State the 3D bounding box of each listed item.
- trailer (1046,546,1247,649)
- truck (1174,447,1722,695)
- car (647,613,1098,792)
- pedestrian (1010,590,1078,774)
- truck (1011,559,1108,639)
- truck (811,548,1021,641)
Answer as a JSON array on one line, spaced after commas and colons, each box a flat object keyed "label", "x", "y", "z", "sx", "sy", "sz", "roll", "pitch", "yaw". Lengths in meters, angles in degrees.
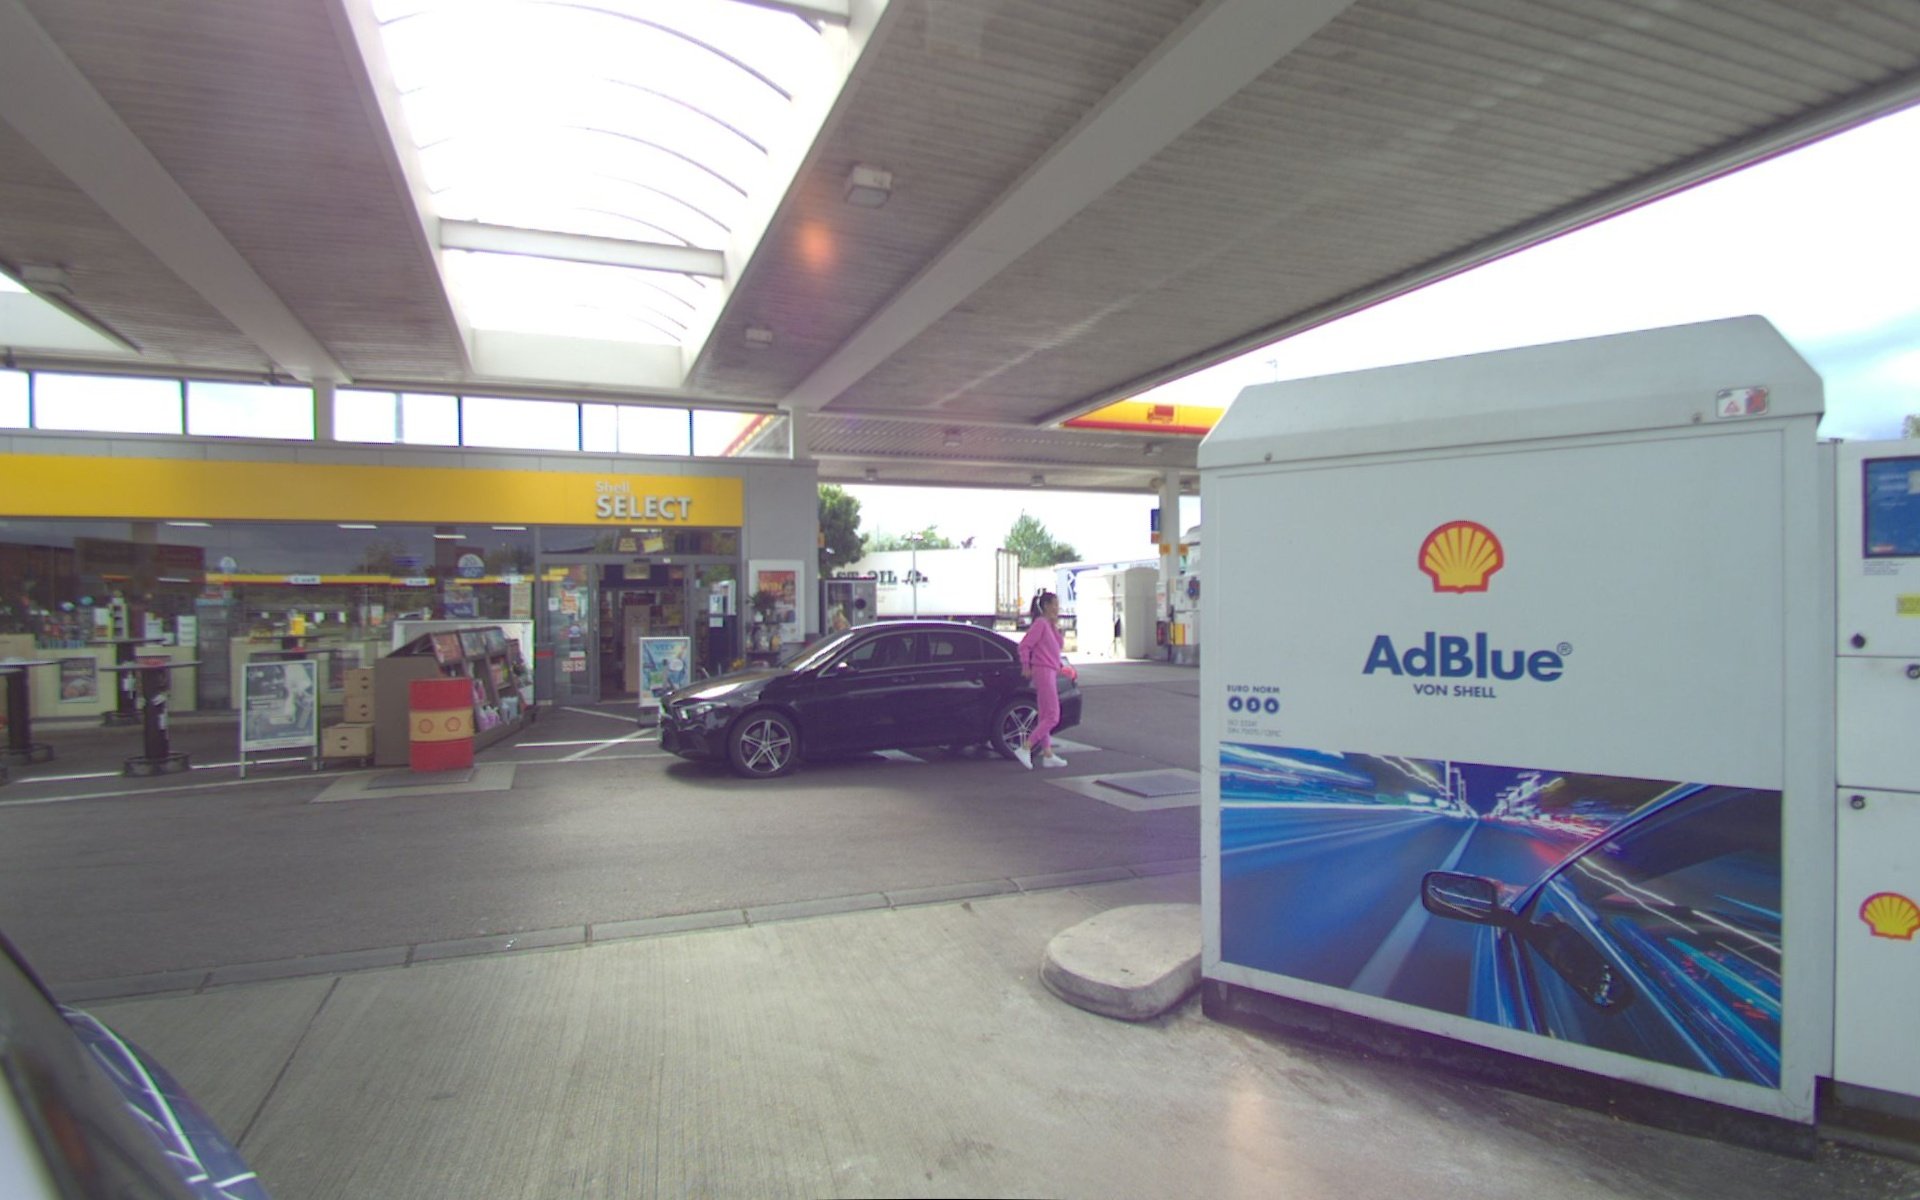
[{"label": "trailer", "x": 9.085, "y": -0.105, "z": 52.683, "sx": 3.294, "sy": 4.600, "sz": 14.397, "roll": -1, "pitch": 0, "yaw": -20}, {"label": "truck", "x": 9.645, "y": -0.466, "z": 23.111, "sx": 2.491, "sy": 4.069, "sz": 12.947, "roll": -1, "pitch": 0, "yaw": -22}, {"label": "car", "x": -0.929, "y": 0.941, "z": 10.686, "sx": 4.394, "sy": 1.511, "sz": 1.785, "roll": -1, "pitch": 0, "yaw": -21}, {"label": "pedestrian", "x": 0.825, "y": 0.769, "z": 9.836, "sx": 0.615, "sy": 1.726, "sz": 0.626, "roll": -1, "pitch": 0, "yaw": 7}, {"label": "truck", "x": 5.905, "y": -0.056, "z": 61.230, "sx": 3.333, "sy": 4.538, "sz": 6.249, "roll": -1, "pitch": 0, "yaw": -20}, {"label": "truck", "x": -2.121, "y": -0.187, "z": 46.845, "sx": 9.536, "sy": 4.036, "sz": 2.772, "roll": -1, "pitch": 0, "yaw": 25}]
